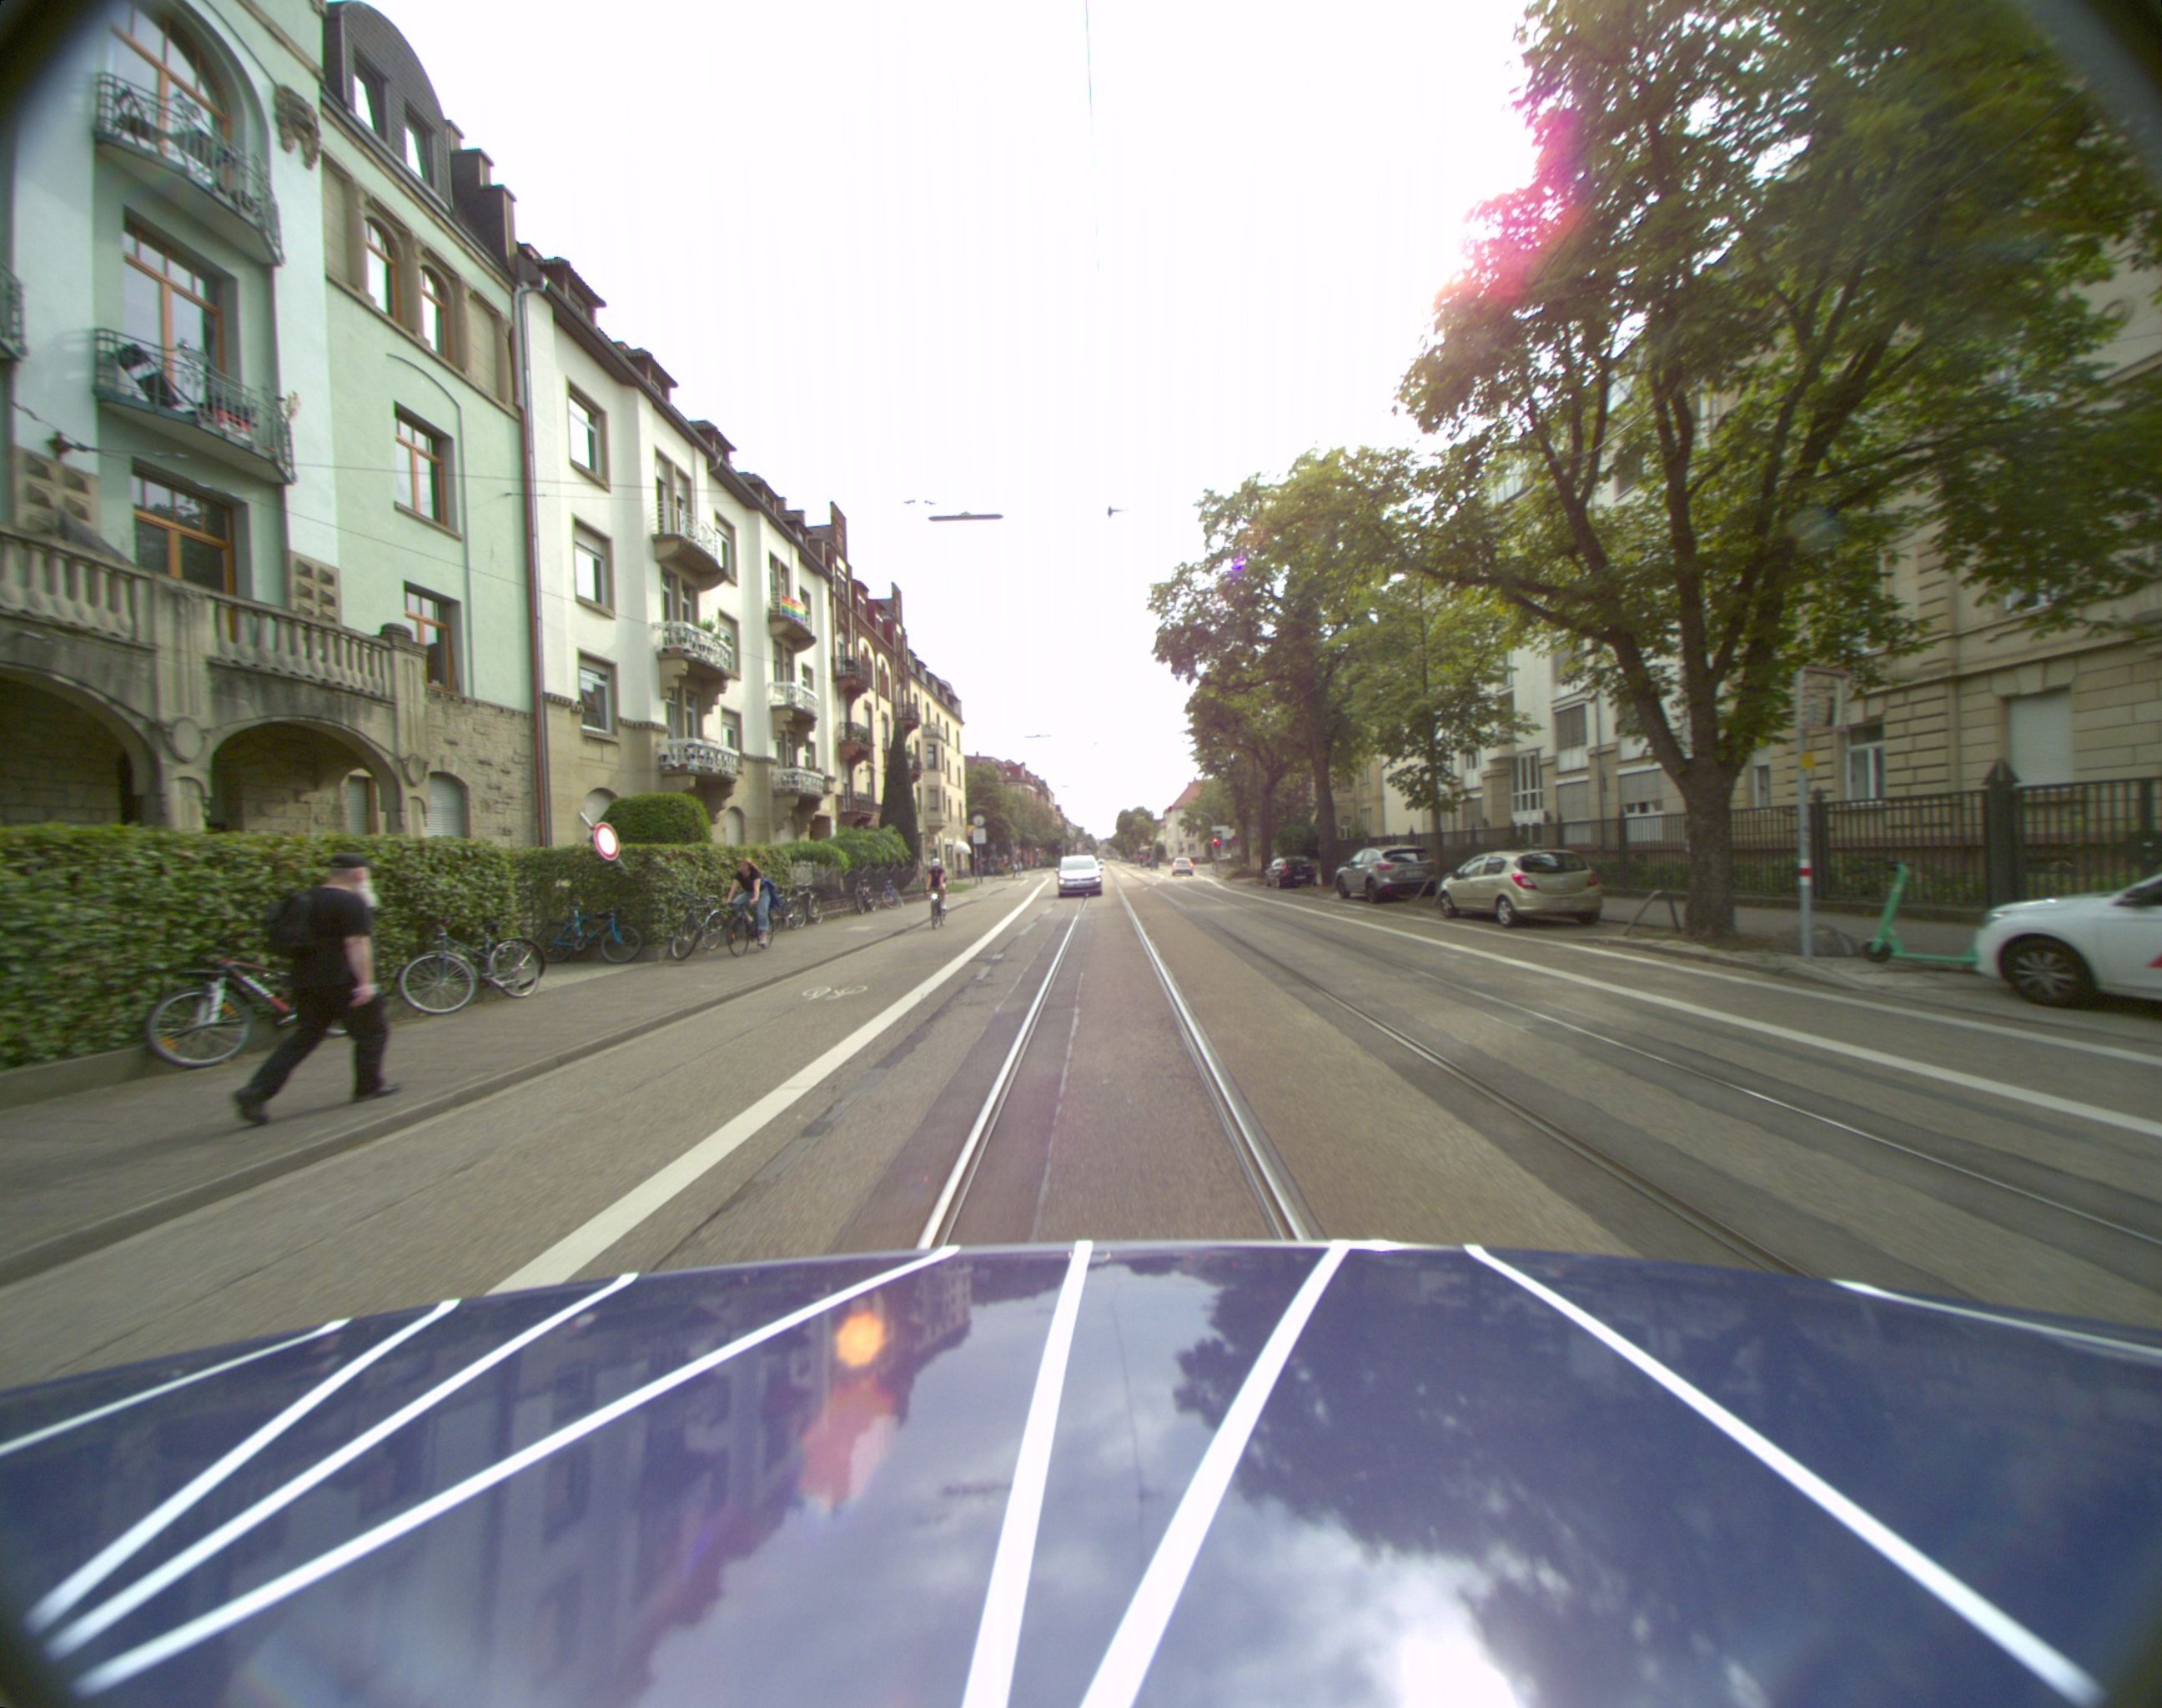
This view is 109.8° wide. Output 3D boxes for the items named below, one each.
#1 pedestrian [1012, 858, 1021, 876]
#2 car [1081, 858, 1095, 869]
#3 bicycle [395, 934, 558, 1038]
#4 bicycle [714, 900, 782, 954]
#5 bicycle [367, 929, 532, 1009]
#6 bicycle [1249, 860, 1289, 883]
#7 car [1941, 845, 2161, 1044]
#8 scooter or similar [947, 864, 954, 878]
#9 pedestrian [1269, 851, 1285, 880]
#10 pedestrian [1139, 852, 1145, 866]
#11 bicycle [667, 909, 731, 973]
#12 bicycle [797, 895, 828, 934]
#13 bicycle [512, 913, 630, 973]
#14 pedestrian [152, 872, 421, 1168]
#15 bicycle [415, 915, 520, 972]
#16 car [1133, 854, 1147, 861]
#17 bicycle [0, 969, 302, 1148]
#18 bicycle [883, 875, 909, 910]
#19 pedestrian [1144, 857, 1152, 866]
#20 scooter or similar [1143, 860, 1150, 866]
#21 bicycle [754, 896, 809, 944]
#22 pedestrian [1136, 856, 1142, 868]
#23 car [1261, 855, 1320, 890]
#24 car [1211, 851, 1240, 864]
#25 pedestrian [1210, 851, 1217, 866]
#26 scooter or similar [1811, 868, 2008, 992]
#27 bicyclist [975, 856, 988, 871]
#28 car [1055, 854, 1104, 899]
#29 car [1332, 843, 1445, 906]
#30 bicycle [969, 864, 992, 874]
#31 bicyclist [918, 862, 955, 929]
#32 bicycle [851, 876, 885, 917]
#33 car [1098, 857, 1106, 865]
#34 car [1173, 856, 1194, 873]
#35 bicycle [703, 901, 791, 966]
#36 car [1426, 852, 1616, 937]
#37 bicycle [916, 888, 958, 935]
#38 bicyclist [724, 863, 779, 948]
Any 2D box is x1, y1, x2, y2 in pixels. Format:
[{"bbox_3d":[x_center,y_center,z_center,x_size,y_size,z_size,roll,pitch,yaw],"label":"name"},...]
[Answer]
[{"bbox_3d":[-6.168,1.215,72.746,0.721,1.651,0.759,2,0,-2],"label":"pedestrian"},{"bbox_3d":[1.379,1.946,151.751,1.997,2.002,4.003,-3,0,9],"label":"car"},{"bbox_3d":[-6.919,1.471,8.805,0.387,0.902,1.665,-1,1,6],"label":"bicycle"},{"bbox_3d":[-6.600,1.432,15.142,0.487,0.902,1.665,-1,1,5],"label":"bicycle"},{"bbox_3d":[-8.008,1.449,9.673,1.664,0.902,0.487,-1,1,0],"label":"bicycle"},{"bbox_3d":[10.756,0.977,43.468,2.239,1.168,0.833,-3,0,-31],"label":"bicycle"},{"bbox_3d":[9.113,0.687,5.257,1.725,1.415,4.023,-4,0,1],"label":"car"},{"bbox_3d":[-10.987,1.423,63.959,0.398,1.161,1.197,0,0,2],"label":"scooter or similar"},{"bbox_3d":[12.397,0.724,48.034,0.707,1.725,0.701,-3,0,-3],"label":"pedestrian"},{"bbox_3d":[7.730,0.647,96.068,0.684,1.680,0.815,-2,0,2],"label":"pedestrian"},{"bbox_3d":[-6.617,1.472,13.229,0.487,0.902,1.663,-1,1,-9],"label":"bicycle"},{"bbox_3d":[-6.617,1.477,18.743,0.278,0.847,1.198,-1,1,2],"label":"bicycle"},{"bbox_3d":[-8.150,1.415,12.156,1.662,0.902,0.487,-1,1,10],"label":"bicycle"},{"bbox_3d":[-5.066,0.986,4.922,0.787,1.723,0.896,0,0,1],"label":"pedestrian"},{"bbox_3d":[-9.996,1.447,12.399,1.443,0.882,0.389,0,0,4],"label":"bicycle"},{"bbox_3d":[16.655,1.016,214.972,3.996,1.716,1.877,-3,0,4],"label":"car"},{"bbox_3d":[-7.095,1.469,5.818,0.387,0.902,1.665,-1,1,6],"label":"bicycle"},{"bbox_3d":[-6.228,1.285,25.664,0.392,1.096,1.759,-1,0,2],"label":"bicycle"},{"bbox_3d":[9.377,0.994,106.464,1.033,1.229,0.724,-3,0,0],"label":"pedestrian"},{"bbox_3d":[8.160,1.121,95.326,0.669,0.708,0.604,1,2,34],"label":"scooter or similar"},{"bbox_3d":[-6.640,1.445,16.930,0.487,0.902,1.665,-1,1,2],"label":"bicycle"},{"bbox_3d":[8.897,1.232,116.460,0.658,1.824,0.464,-3,0,-11],"label":"pedestrian"},{"bbox_3d":[9.650,0.817,35.339,1.724,1.416,4.167,-5,0,4],"label":"car"},{"bbox_3d":[23.491,0.539,123.630,4.188,1.853,1.857,-3,0,37],"label":"car"},{"bbox_3d":[15.198,0.549,87.146,0.654,1.680,0.712,-2,0,-2],"label":"pedestrian"},{"bbox_3d":[9.053,0.780,8.363,0.563,1.215,1.321,-3,0,-22],"label":"scooter or similar"},{"bbox_3d":[-11.346,1.121,86.414,0.841,1.679,1.243,-2,-1,-42],"label":"bicyclist"},{"bbox_3d":[0.007,0.888,32.339,1.766,1.661,4.330,-4,0,3],"label":"car"},{"bbox_3d":[9.204,0.582,23.140,1.714,1.664,4.357,-3,0,1],"label":"car"},{"bbox_3d":[-11.483,1.682,86.560,0.888,1.039,3.089,-2,0,-42],"label":"bicycle"},{"bbox_3d":[-3.488,0.980,18.430,0.640,1.561,1.110,-1,0,-1],"label":"bicyclist"},{"bbox_3d":[-6.418,1.261,22.954,0.392,1.135,1.921,-1,0,2],"label":"bicycle"},{"bbox_3d":[5.867,1.934,208.418,1.998,2.002,4.001,-3,0,3],"label":"car"},{"bbox_3d":[8.460,0.866,63.218,1.574,1.408,4.002,0,0,5],"label":"car"},{"bbox_3d":[-5.866,1.362,13.490,0.690,0.956,2.036,0,0,-1],"label":"bicycle"},{"bbox_3d":[8.862,0.738,15.744,1.604,1.459,4.079,-3,0,1],"label":"car"},{"bbox_3d":[-3.474,1.360,18.494,0.640,0.975,2.071,-1,0,0],"label":"bicycle"},{"bbox_3d":[-5.866,0.900,13.562,0.649,1.461,0.800,0,0,-1],"label":"bicyclist"}]
